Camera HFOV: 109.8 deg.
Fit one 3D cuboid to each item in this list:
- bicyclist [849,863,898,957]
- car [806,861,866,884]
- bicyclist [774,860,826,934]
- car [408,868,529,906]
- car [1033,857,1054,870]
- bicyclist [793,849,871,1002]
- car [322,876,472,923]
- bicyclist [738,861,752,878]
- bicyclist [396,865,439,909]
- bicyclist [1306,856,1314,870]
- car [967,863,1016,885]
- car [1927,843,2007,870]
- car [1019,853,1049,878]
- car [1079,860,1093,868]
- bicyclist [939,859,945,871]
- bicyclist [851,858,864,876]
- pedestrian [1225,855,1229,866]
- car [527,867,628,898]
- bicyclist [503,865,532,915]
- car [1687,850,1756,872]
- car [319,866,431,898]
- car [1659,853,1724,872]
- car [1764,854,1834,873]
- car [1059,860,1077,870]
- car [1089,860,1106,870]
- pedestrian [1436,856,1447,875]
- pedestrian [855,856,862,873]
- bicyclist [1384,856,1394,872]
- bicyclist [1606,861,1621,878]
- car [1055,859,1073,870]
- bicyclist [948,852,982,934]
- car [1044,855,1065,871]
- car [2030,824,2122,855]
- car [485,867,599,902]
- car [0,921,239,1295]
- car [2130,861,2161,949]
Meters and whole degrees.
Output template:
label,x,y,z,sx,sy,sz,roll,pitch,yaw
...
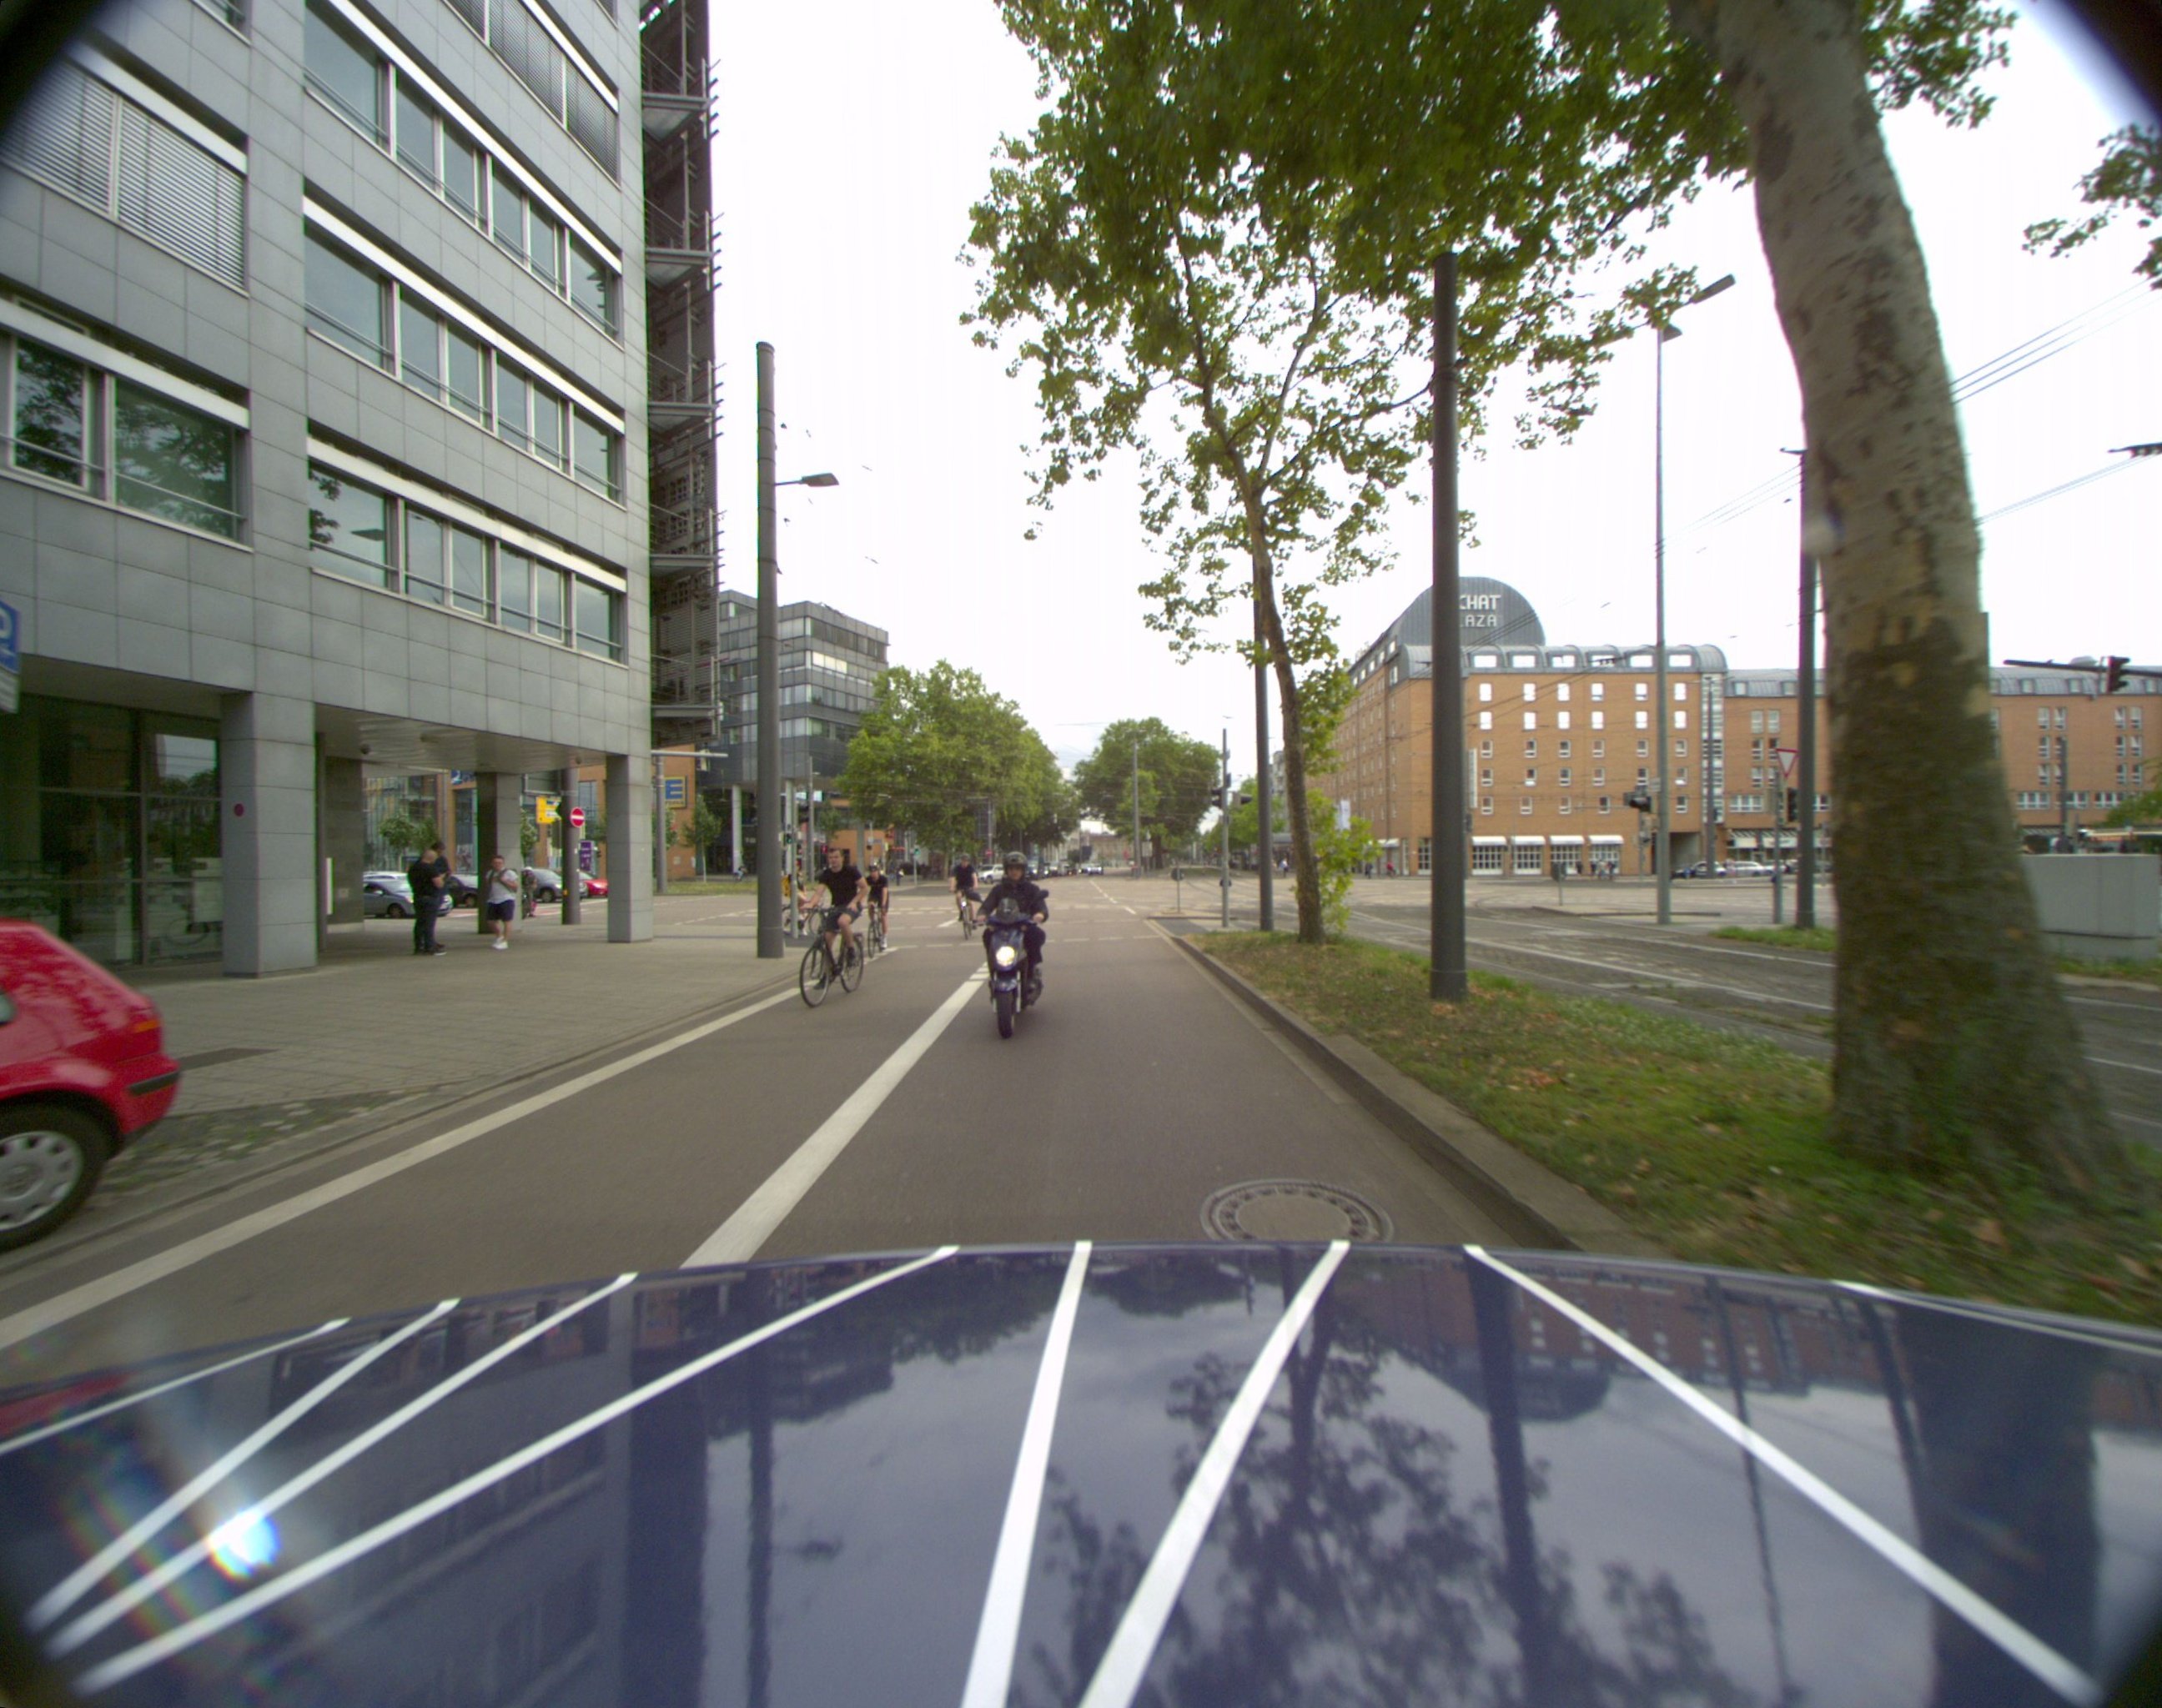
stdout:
label,x,y,z,sx,sy,sz,roll,pitch,yaw
bicyclist,-3.770,0.991,13.855,0.591,1.644,1.035,0,0,1
car,-19.832,1.489,61.653,4.174,1.728,1.966,-1,0,6
bicyclist,-6.827,1.015,18.481,0.914,1.754,0.720,0,0,18
car,-26.494,1.395,32.927,3.994,1.524,1.824,0,1,9
car,-4.215,1.082,86.880,1.756,1.410,4.276,0,1,6
bicyclist,-3.006,0.820,9.247,0.591,1.757,1.035,0,0,1
car,-24.411,1.587,27.192,3.994,1.524,1.824,0,2,9
bicyclist,-31.212,1.438,70.544,0.977,1.607,0.638,0,1,8
bicyclist,-25.515,1.260,29.239,0.979,1.657,0.745,0,2,11
bicyclist,25.312,0.999,83.977,0.651,1.492,0.817,0,1,-4
car,-7.491,1.664,64.241,1.960,1.651,4.646,-2,0,24
car,73.699,0.180,63.230,4.833,2.217,1.702,0,1,-2
car,-4.823,1.118,78.745,2.174,2.441,6.999,-1,0,4
car,0.804,1.530,118.880,1.711,1.270,4.002,0,0,8
bicyclist,-17.458,1.352,95.315,0.531,1.424,0.739,0,1,11
bicyclist,-20.619,1.205,70.214,0.977,1.606,0.638,0,0,8
pedestrian,23.734,1.085,123.454,0.648,1.696,0.624,0,0,6
car,-25.348,1.427,38.327,3.994,1.425,1.824,0,2,9
bicyclist,-19.620,1.228,26.445,0.662,1.665,1.032,-3,3,-42
car,50.460,0.514,59.891,3.998,1.674,1.800,0,1,-2
car,-34.122,1.338,36.756,3.994,1.453,1.824,0,2,9
car,50.058,0.685,62.338,3.998,1.470,1.800,0,0,-2
car,56.806,0.711,60.164,3.998,1.434,1.702,0,1,-2
car,-1.823,1.557,107.422,1.997,1.270,4.002,0,0,8
car,2.197,1.451,100.208,1.845,1.369,3.836,-1,-1,6
pedestrian,32.760,1.051,69.006,0.750,1.721,0.579,-1,0,6
pedestrian,-24.213,1.127,82.813,0.545,1.855,0.515,0,0,28
bicyclist,29.075,0.945,71.727,0.864,1.492,0.637,0,1,18
bicyclist,45.965,1.341,65.623,0.865,1.492,0.636,0,1,-2
car,-2.226,1.362,100.275,1.915,1.533,4.094,0,0,6
bicyclist,-2.572,0.850,16.943,0.591,1.760,1.035,0,0,1
car,-3.268,1.103,94.706,1.997,2.002,5.439,0,0,6
car,77.015,-1.140,58.837,5.081,2.306,1.702,0,0,-2
car,-25.151,1.397,35.531,4.214,1.524,1.824,0,2,9
car,-5.414,1.069,1.878,1.726,1.424,4.255,2,0,5
car,18.218,0.804,10.213,1.788,1.413,4.658,0,0,-1
